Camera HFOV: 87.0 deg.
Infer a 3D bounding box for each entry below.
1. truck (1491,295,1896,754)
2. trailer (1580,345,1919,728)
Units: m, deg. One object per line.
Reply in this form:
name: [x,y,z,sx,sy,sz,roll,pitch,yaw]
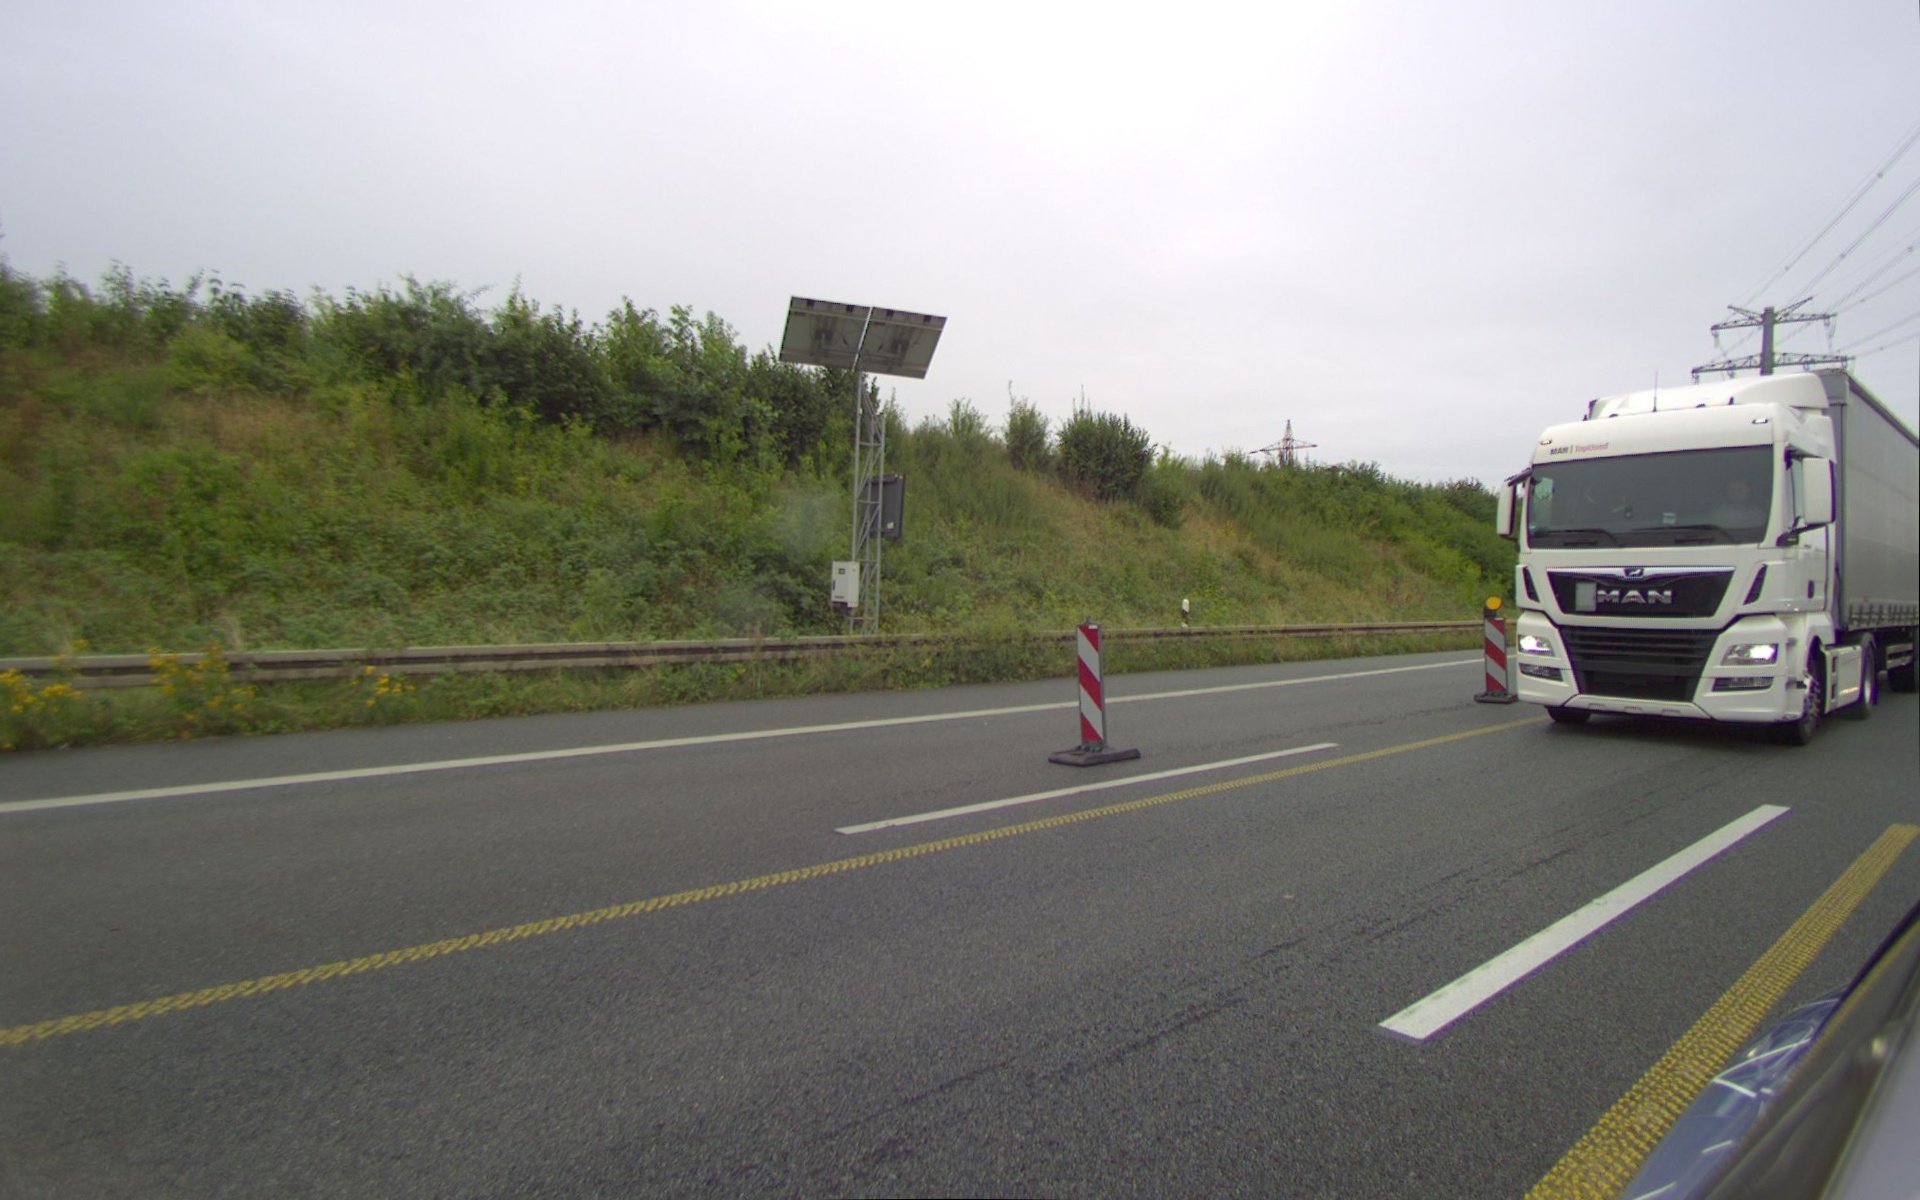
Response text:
truck: [8.936,-0.718,12.107,5.591,4.190,2.711,0,1,-41]
trailer: [14.061,-0.732,16.564,13.491,4.198,2.711,0,1,-41]
